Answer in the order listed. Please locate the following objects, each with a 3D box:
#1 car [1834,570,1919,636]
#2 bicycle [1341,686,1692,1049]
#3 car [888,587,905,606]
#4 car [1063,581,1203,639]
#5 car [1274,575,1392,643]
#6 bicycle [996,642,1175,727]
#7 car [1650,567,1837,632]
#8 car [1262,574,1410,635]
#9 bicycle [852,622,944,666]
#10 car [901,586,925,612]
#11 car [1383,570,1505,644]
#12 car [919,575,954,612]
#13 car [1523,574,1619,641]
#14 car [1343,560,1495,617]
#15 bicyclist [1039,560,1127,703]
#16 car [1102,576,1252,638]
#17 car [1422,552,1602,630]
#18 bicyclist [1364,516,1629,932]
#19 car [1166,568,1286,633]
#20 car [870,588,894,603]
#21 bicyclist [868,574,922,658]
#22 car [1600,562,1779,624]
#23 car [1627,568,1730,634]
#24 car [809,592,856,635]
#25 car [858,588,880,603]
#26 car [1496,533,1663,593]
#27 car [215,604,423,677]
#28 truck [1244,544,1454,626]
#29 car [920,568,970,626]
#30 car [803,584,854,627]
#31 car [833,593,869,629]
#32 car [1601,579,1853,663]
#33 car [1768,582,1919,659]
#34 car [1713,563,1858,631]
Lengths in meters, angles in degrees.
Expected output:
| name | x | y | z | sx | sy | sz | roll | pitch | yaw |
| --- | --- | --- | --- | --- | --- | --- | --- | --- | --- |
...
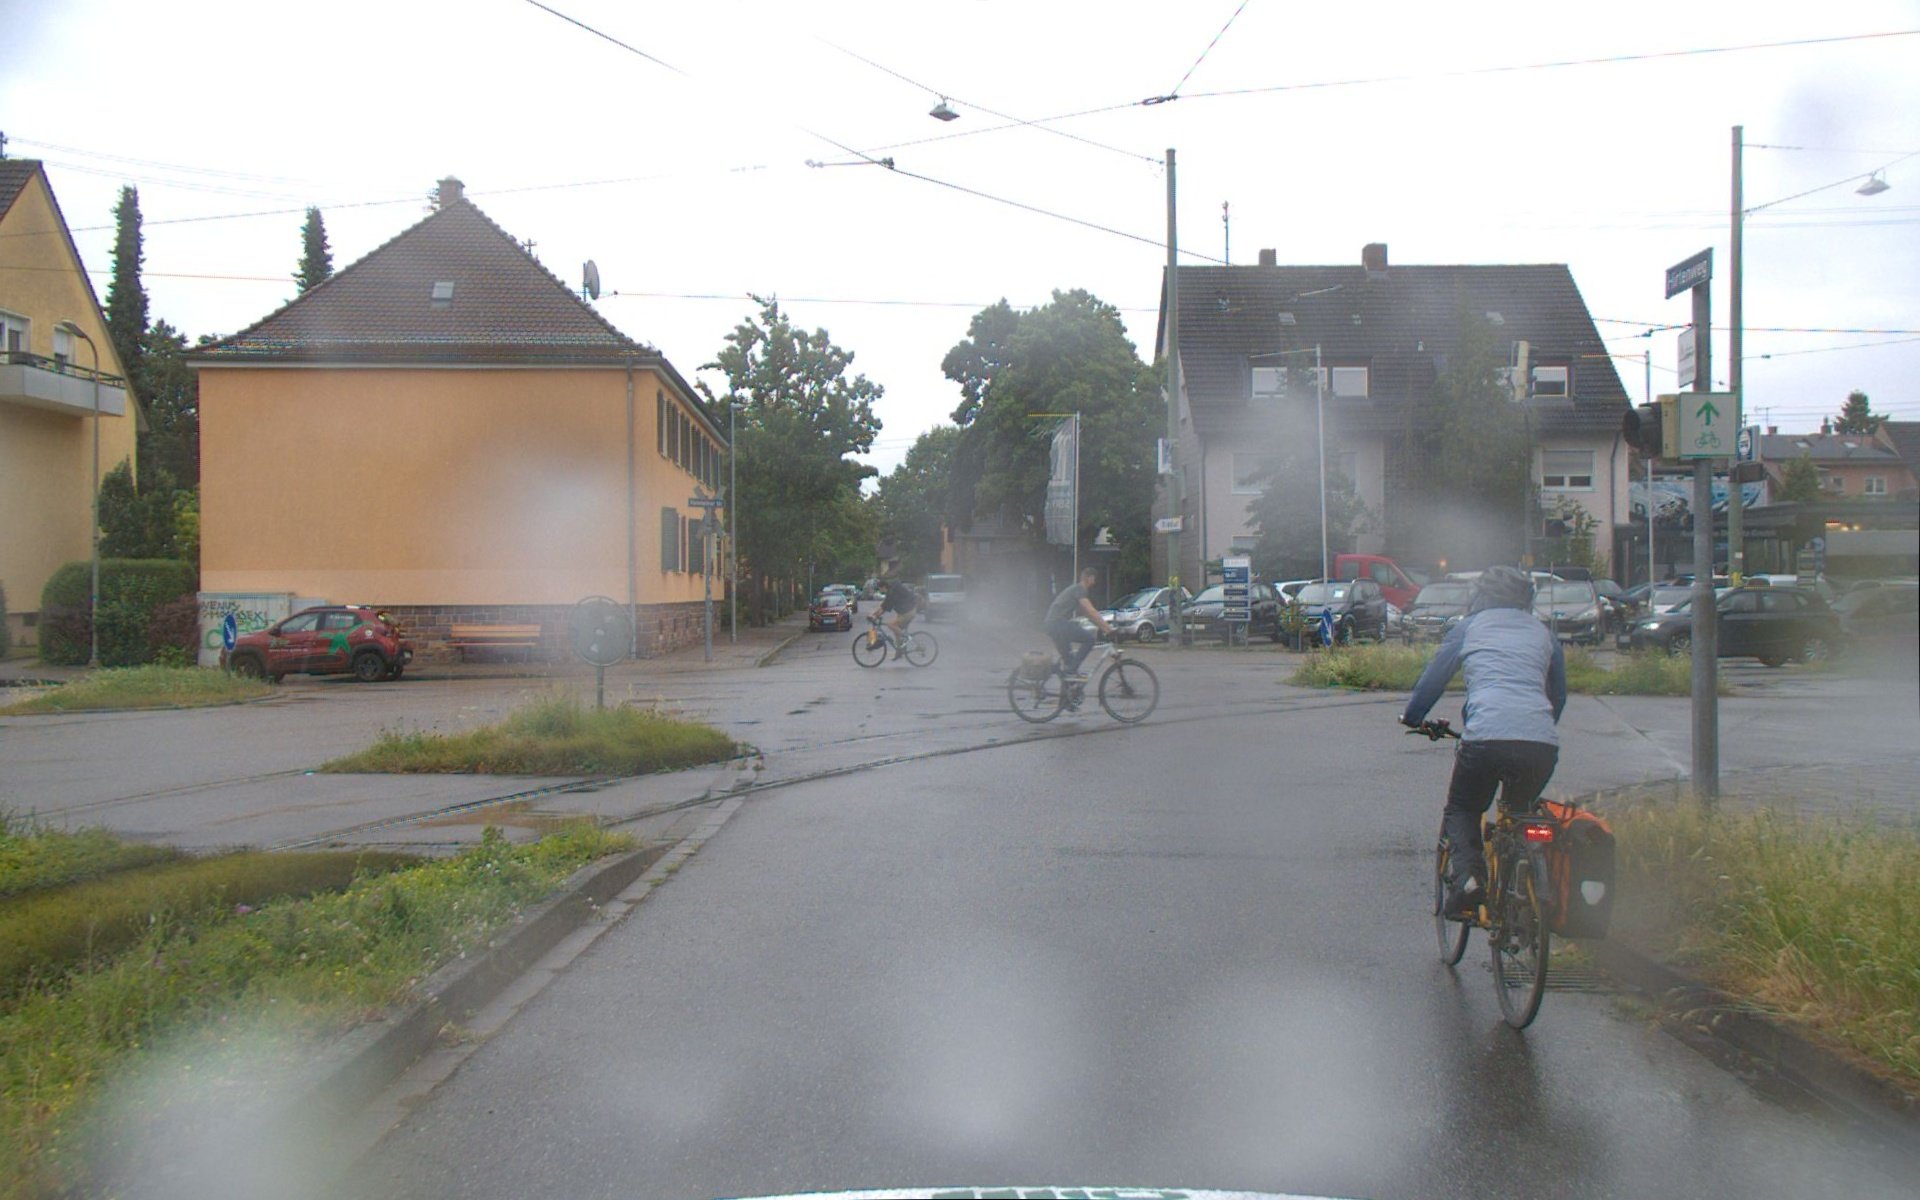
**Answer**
| name | x | y | z | sx | sy | sz | roll | pitch | yaw |
| --- | --- | --- | --- | --- | --- | --- | --- | --- | --- |
| car | 23.991 | 0.087 | 42.079 | 1.681 | 1.600 | 3.618 | 1 | 0 | 2 |
| bicycle | 2.096 | 0.952 | 6.532 | 0.737 | 1.091 | 1.927 | -2 | 0 | 1 |
| car | -6.977 | -0.384 | 180.935 | 1.792 | 2.049 | 3.997 | 1 | 0 | -4 |
| car | 5.200 | 0.284 | 49.893 | 3.804 | 1.606 | 1.796 | -1 | 0 | -21 |
| car | 9.487 | 0.198 | 41.892 | 1.769 | 1.606 | 3.863 | -1 | 0 | 31 |
| bicycle | 1.407 | 0.945 | 18.799 | 1.940 | 0.928 | 0.823 | 0 | -1 | -4 |
| car | 21.736 | -0.008 | 45.996 | 4.341 | 1.717 | 1.760 | -1 | -1 | 1 |
| car | 10.683 | 0.131 | 46.943 | 3.883 | 1.626 | 2.001 | -1 | -1 | 19 |
| bicycle | -1.235 | 0.868 | 32.800 | 1.777 | 0.800 | 0.942 | -2 | 0 | -3 |
| car | -3.812 | -0.111 | 134.112 | 1.792 | 2.049 | 3.997 | 1 | 0 | -4 |
| car | 12.154 | 0.163 | 41.390 | 1.957 | 1.747 | 3.991 | -1 | 0 | 31 |
| car | -1.402 | -0.386 | 96.596 | 1.953 | 2.049 | 3.999 | 1 | 0 | -1 |
| car | 15.266 | 0.186 | 41.223 | 1.792 | 1.530 | 4.054 | 1 | 0 | 27 |
| car | 14.693 | -0.352 | 53.108 | 4.341 | 1.717 | 2.000 | -1 | -1 | 1 |
| bicyclist | 1.387 | 0.351 | 18.808 | 0.893 | 1.585 | 0.833 | 0 | -1 | -4 |
| car | 6.100 | 0.191 | 46.571 | 3.804 | 1.606 | 1.796 | -1 | 0 | -21 |
| car | 15.313 | -0.229 | 46.083 | 4.341 | 2.049 | 2.000 | -1 | -1 | 1 |
| bicyclist | 2.080 | 0.455 | 6.513 | 0.735 | 1.511 | 0.846 | -2 | 0 | 1 |
| car | 7.000 | -0.002 | 43.202 | 1.769 | 1.606 | 3.863 | -1 | 0 | 31 |
| car | -9.399 | -0.521 | 199.164 | 1.800 | 1.726 | 4.012 | 1 | 0 | -17 |
| bicyclist | -1.286 | 0.310 | 32.794 | 1.018 | 1.626 | 0.949 | -1 | 0 | -3 |
| car | 21.251 | -0.196 | 48.308 | 4.341 | 1.717 | 2.000 | -1 | -1 | 1 |
| car | 17.985 | 0.029 | 41.568 | 1.789 | 1.530 | 4.061 | 1 | 0 | 15 |
| car | -5.464 | 0.583 | 71.269 | 1.954 | 1.780 | 3.997 | -1 | 0 | -3 |
| car | -11.256 | -0.589 | 204.549 | 1.800 | 1.726 | 4.012 | 1 | 0 | -17 |
| car | 18.889 | -1.116 | 50.550 | 4.341 | 1.717 | 2.000 | -1 | -1 | 1 |
| car | -12.969 | 0.806 | 33.621 | 3.534 | 1.362 | 1.721 | 1 | 0 | -4 |
| truck | 11.735 | -0.418 | 49.901 | 5.955 | 2.312 | 2.001 | -1 | -1 | 19 |
| car | -0.738 | -0.142 | 78.729 | 2.110 | 2.617 | 4.131 | 1 | 0 | -4 |
| car | -5.242 | 0.234 | 66.436 | 1.954 | 1.646 | 3.997 | -1 | 0 | -3 |
| car | -6.582 | 0.652 | 100.182 | 1.953 | 2.049 | 3.999 | 1 | 0 | -1 |
| car | 14.662 | 0.378 | 31.777 | 3.907 | 1.502 | 1.999 | -1 | 0 | -3 |
| car | 19.249 | 0.426 | 34.877 | 3.558 | 1.530 | 1.722 | 1 | 0 | -1 |
| car | 21.016 | -0.076 | 42.280 | 1.765 | 1.606 | 3.872 | -1 | 0 | 0 |
